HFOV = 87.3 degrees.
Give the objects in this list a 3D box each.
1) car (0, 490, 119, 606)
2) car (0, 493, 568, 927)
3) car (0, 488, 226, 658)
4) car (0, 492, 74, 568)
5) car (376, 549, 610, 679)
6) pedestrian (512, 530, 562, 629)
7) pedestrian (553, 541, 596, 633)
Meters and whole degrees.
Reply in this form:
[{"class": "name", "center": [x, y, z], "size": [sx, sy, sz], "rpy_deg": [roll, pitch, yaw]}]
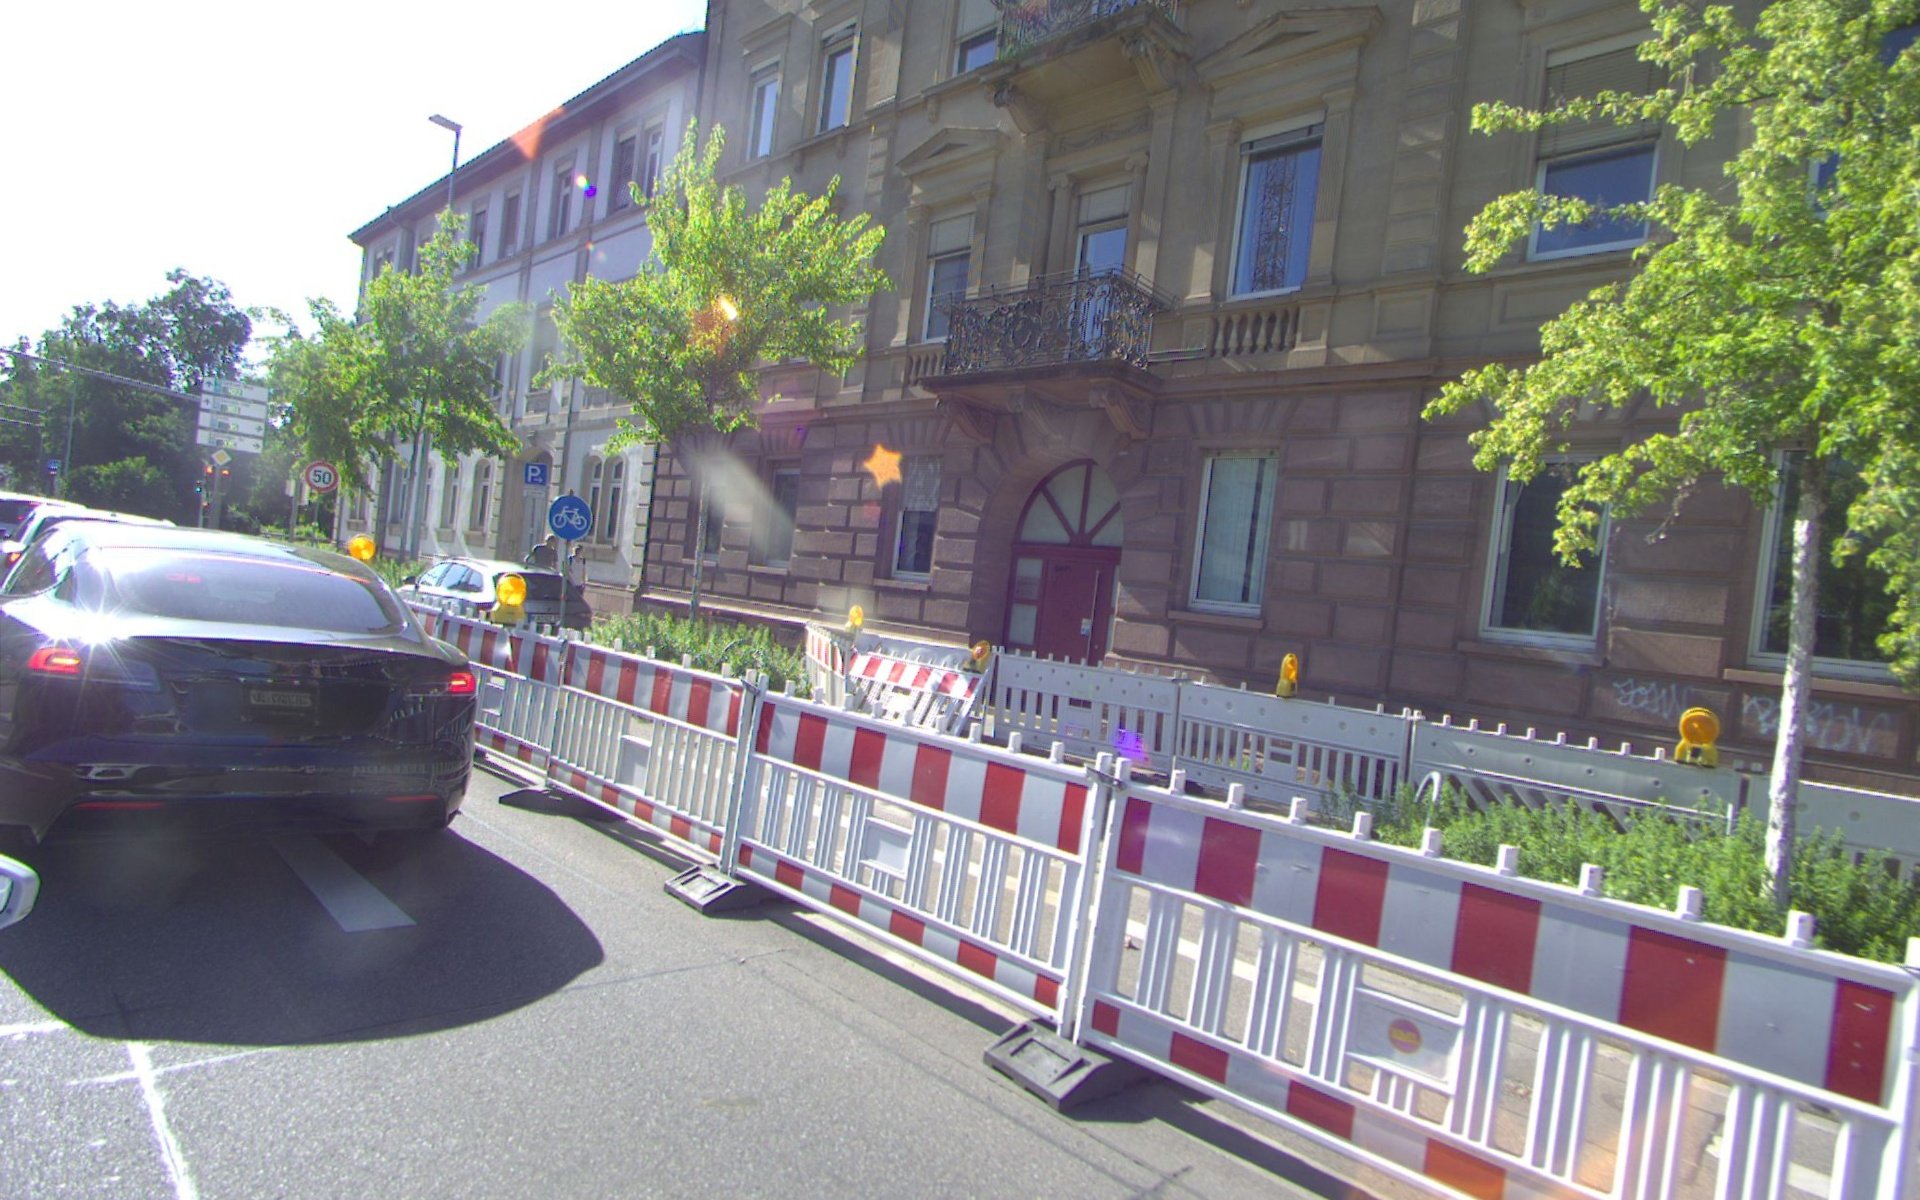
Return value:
[{"class": "car", "center": [-15.185, -0.937, 16.449], "size": [3.953, 1.545, 1.746], "rpy_deg": [7, -2, 45]}, {"class": "car", "center": [-4.246, 0.314, 5.610], "size": [4.465, 1.460, 2.048], "rpy_deg": [7, -2, 44]}, {"class": "car", "center": [-9.997, -0.408, 11.479], "size": [4.774, 1.444, 1.744], "rpy_deg": [7, -1, 44]}, {"class": "car", "center": [-21.628, -1.678, 22.838], "size": [3.798, 1.444, 1.790], "rpy_deg": [6, -2, 43]}, {"class": "car", "center": [-7.285, 0.144, 15.429], "size": [4.639, 1.495, 1.642], "rpy_deg": [7, 2, 44]}, {"class": "pedestrian", "center": [-8.606, -0.414, 20.474], "size": [0.579, 1.939, 0.656], "rpy_deg": [7, 4, 44]}, {"class": "pedestrian", "center": [-8.073, -0.268, 21.062], "size": [0.579, 1.845, 0.561], "rpy_deg": [7, 4, 44]}]
